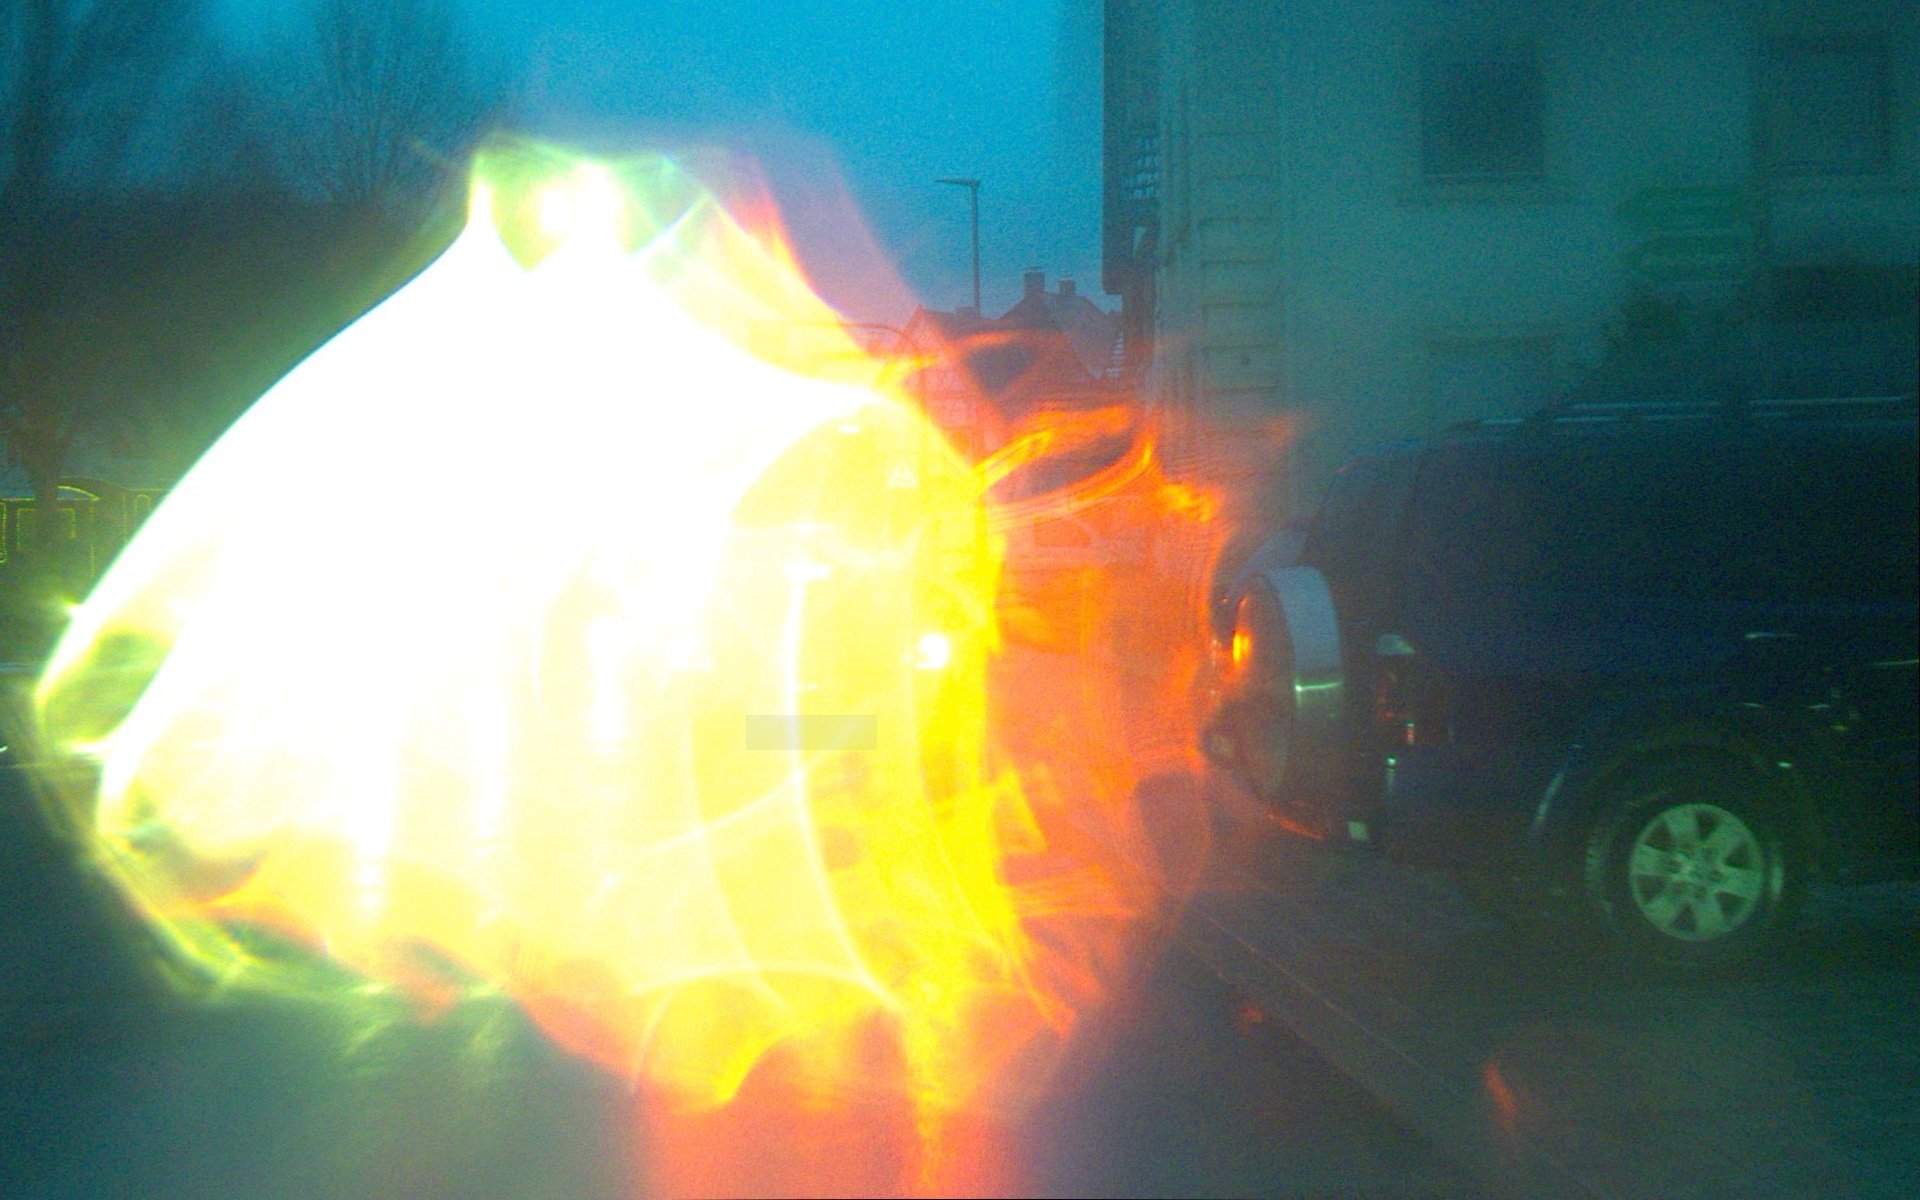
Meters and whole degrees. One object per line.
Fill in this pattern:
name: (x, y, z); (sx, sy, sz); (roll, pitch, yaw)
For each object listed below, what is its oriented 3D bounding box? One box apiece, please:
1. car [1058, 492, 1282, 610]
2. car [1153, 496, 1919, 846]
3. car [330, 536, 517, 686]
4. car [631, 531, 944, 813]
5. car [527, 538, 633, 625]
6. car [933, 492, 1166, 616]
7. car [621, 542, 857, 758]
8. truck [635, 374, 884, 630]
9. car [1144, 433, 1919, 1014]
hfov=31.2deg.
car: (3.924, -0.925, 64.147); (4.098, 2.144, 1.913); (0, 1, 4)
car: (3.058, 0.313, 17.341); (3.869, 1.574, 1.682); (-2, 1, -8)
car: (-5.738, 0.079, 37.045); (1.638, 1.530, 3.407); (0, 1, -3)
car: (-0.994, 0.354, 19.715); (1.638, 1.476, 3.379); (0, 1, -3)
car: (-7.280, -0.385, 66.148); (1.810, 1.590, 4.400); (-1, 1, -4)
car: (1.642, -0.834, 61.736); (4.098, 2.155, 1.913); (0, 1, 4)
car: (-1.617, 0.321, 25.604); (1.638, 1.476, 3.272); (0, 1, -3)
truck: (-2.814, -1.276, 45.947); (3.015, 3.118, 8.002); (0, 1, -5)
car: (3.104, 0.324, 11.987); (4.602, 1.769, 1.946); (-2, 1, -7)
